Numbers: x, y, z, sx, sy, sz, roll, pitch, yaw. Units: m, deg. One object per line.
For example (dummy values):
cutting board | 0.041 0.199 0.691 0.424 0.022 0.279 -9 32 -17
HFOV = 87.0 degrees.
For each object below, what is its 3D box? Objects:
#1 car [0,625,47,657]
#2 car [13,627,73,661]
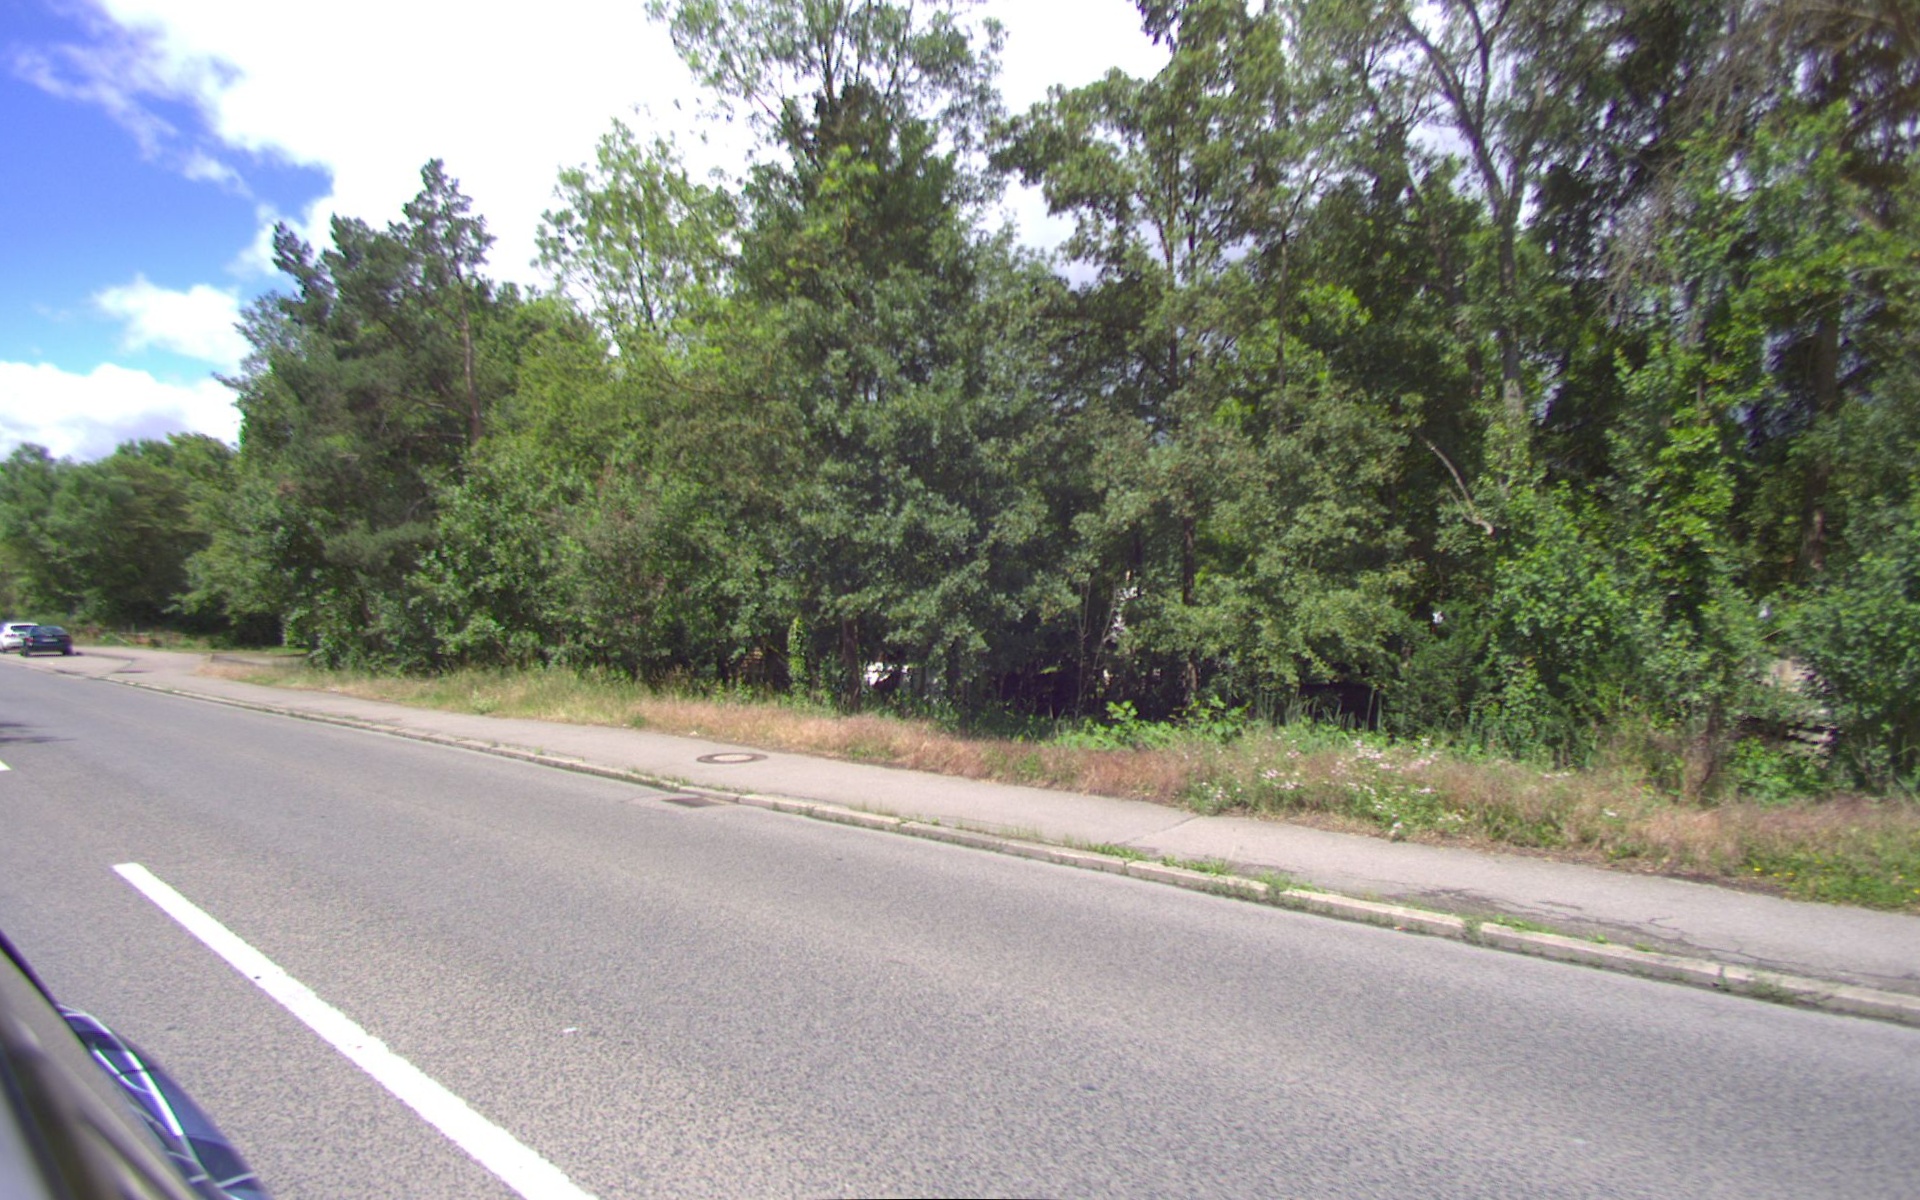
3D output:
car | -47.460 2.039 50.839 4.242 1.481 1.750 -1 0 40
car | -41.678 1.957 45.981 4.266 1.418 1.748 -1 0 44
